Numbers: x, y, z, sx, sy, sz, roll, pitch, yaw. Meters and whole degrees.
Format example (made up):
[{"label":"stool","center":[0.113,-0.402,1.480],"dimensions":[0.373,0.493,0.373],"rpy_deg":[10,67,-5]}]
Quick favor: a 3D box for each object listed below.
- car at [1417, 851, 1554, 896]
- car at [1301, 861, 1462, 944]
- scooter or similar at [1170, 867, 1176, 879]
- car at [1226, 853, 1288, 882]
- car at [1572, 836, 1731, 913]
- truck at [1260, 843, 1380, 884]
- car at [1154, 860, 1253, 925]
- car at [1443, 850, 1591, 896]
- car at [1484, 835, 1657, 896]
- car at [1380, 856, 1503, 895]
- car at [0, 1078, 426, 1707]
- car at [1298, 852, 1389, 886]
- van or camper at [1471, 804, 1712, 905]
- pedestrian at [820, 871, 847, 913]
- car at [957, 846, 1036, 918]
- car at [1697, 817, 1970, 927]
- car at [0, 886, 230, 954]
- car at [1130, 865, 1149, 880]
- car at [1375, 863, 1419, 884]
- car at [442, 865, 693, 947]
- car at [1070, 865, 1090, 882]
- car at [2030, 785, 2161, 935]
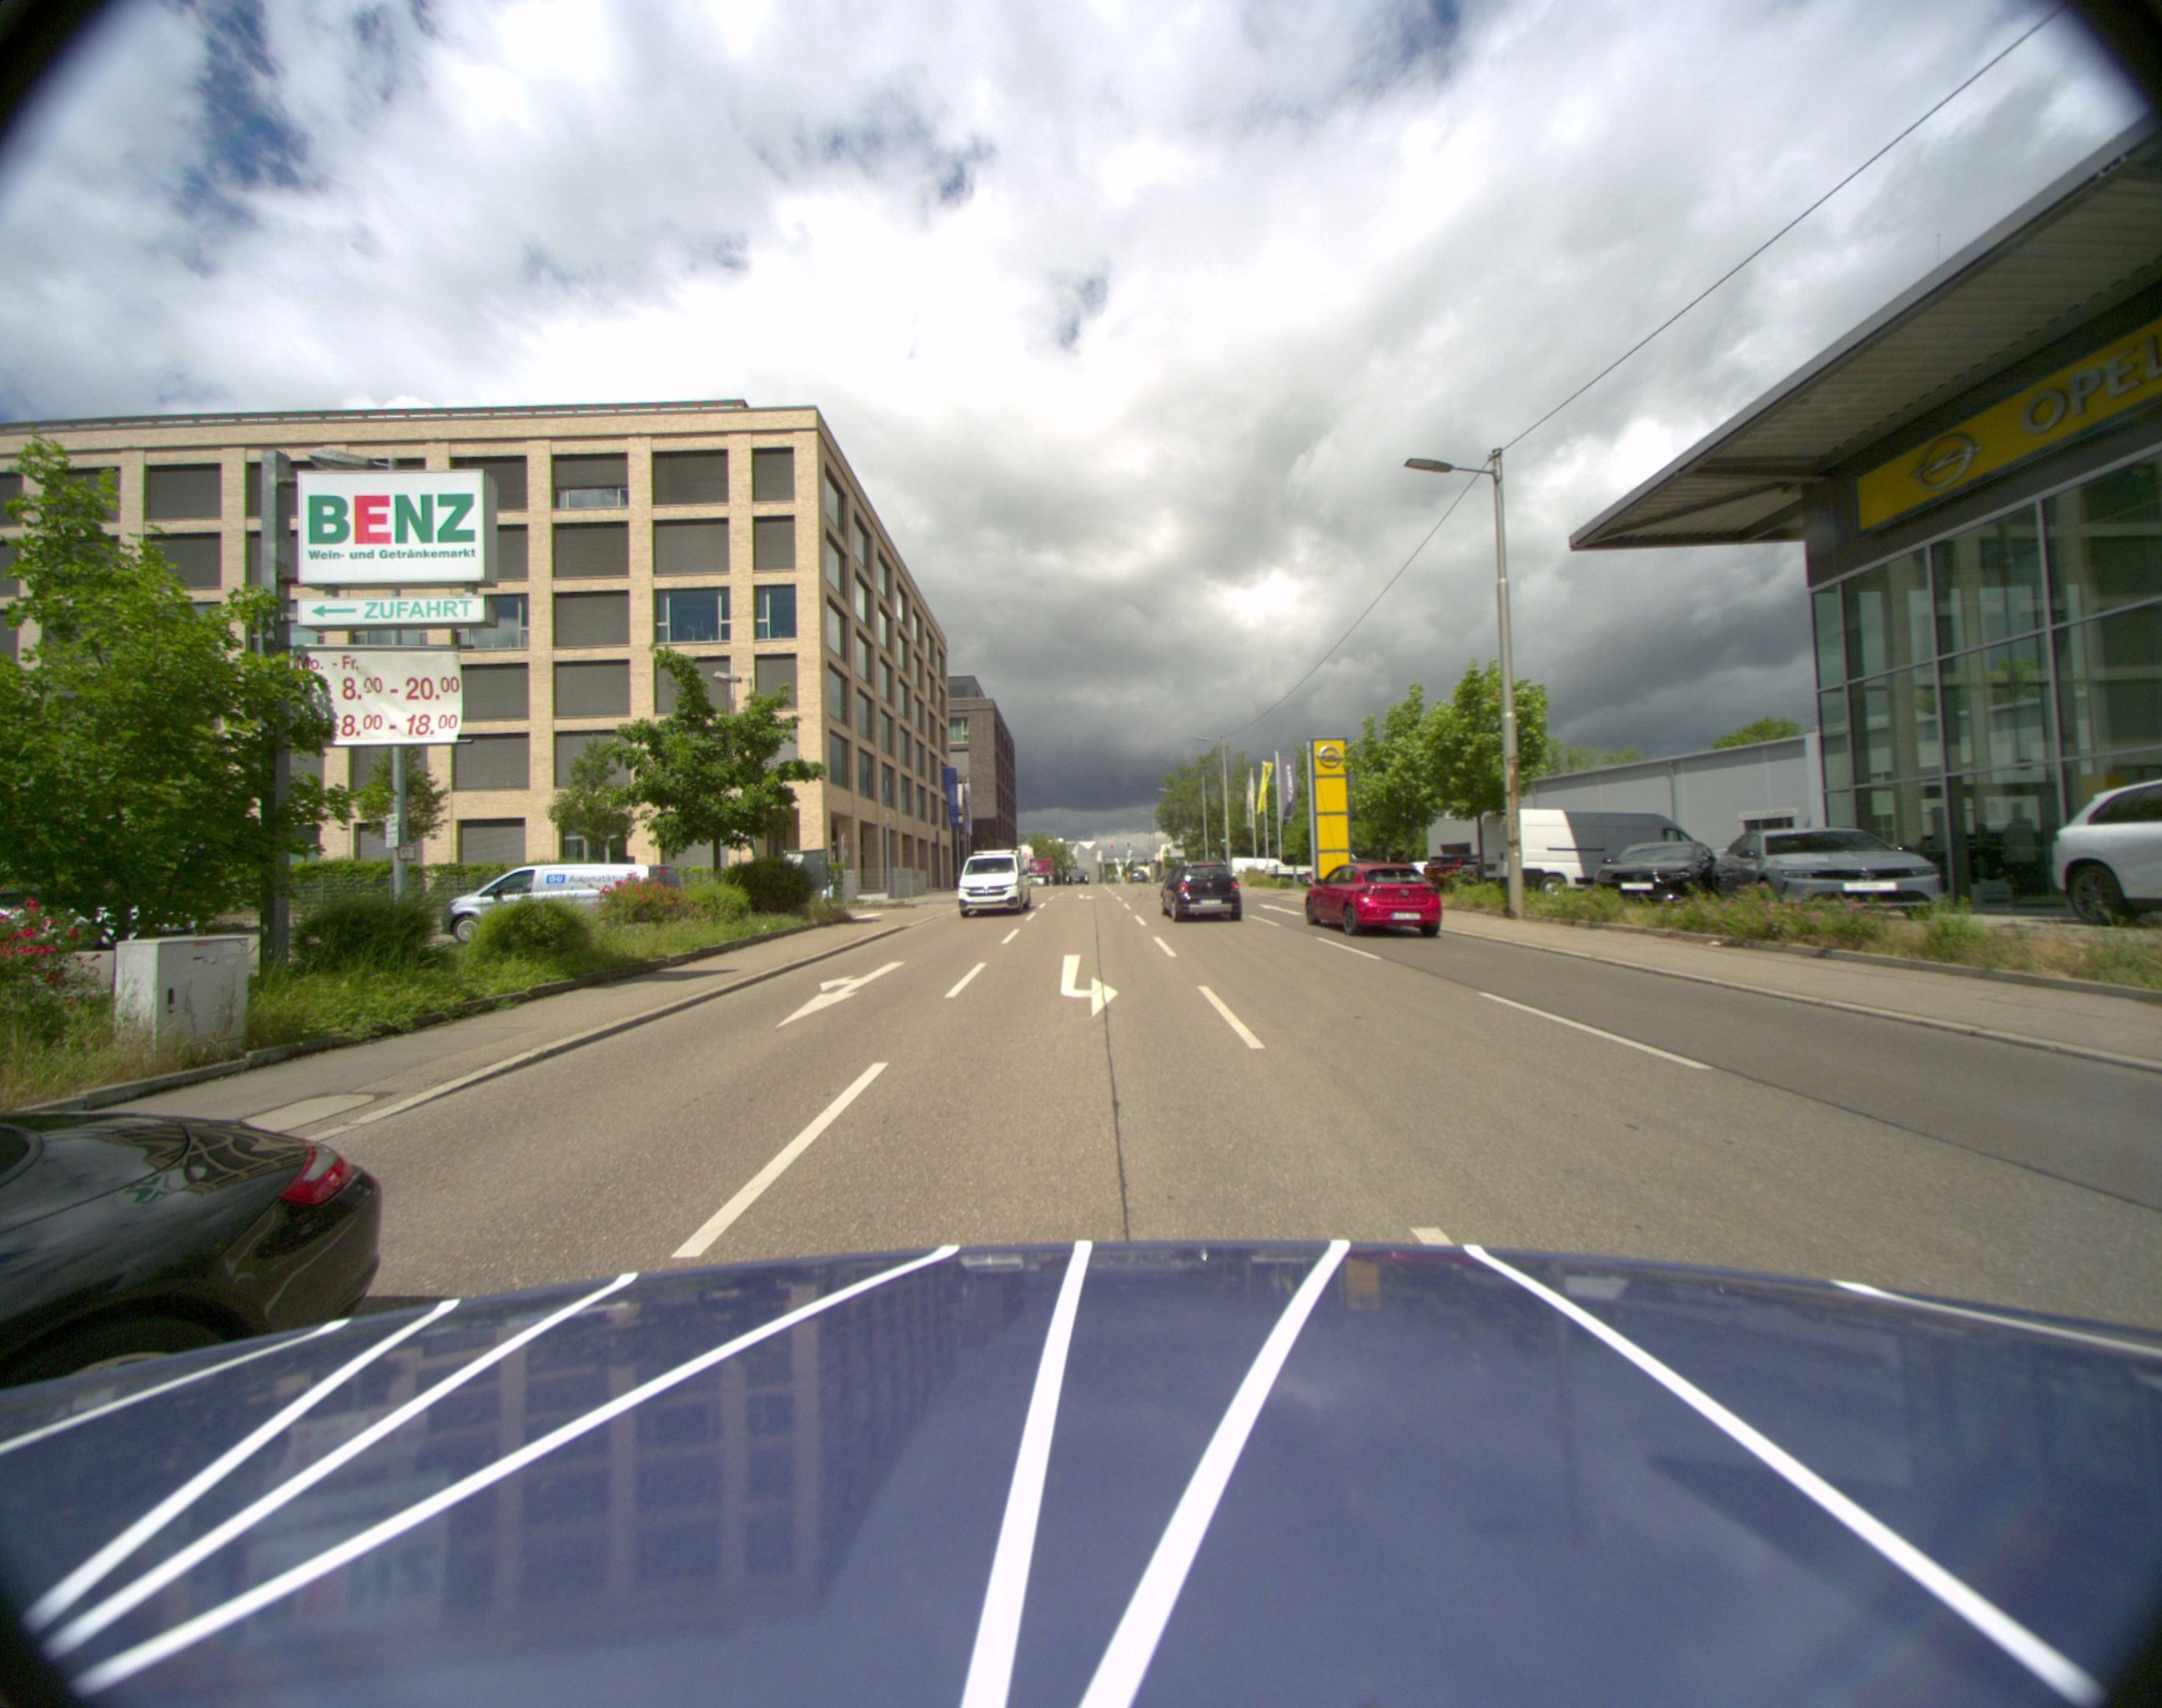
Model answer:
[{"label":"car","center":[15.036,0.763,28.409],"dimensions":[3.996,1.482,2.001],"rpy_deg":[-2,-2,3]},{"label":"car","center":[6.076,0.906,15.875],"dimensions":[1.875,1.482,3.849],"rpy_deg":[1,-1,1]},{"label":"scooter or similar","center":[9.573,1.998,79.345],"dimensions":[0.536,1.258,1.473],"rpy_deg":[-3,-2,6]},{"label":"car","center":[13.354,1.064,57.811],"dimensions":[4.171,2.001,2.199],"rpy_deg":[-2,-2,-1]},{"label":"car","center":[12.879,0.395,17.051],"dimensions":[4.485,1.500,1.938],"rpy_deg":[-1,-1,-41]},{"label":"truck","center":[13.197,0.519,42.212],"dimensions":[5.877,2.135,2.476],"rpy_deg":[-1,0,-2]},{"label":"car","center":[3.099,0.937,20.083],"dimensions":[1.834,1.500,4.277],"rpy_deg":[-1,0,-1]},{"label":"car","center":[14.981,0.645,26.260],"dimensions":[3.997,1.401,1.928],"rpy_deg":[-2,0,0]},{"label":"car","center":[15.120,0.386,23.674],"dimensions":[3.995,1.695,2.002],"rpy_deg":[-2,-2,6]},{"label":"car","center":[14.507,0.850,30.769],"dimensions":[3.997,1.401,2.000],"rpy_deg":[-2,0,-1]},{"label":"car","center":[-3.012,1.219,0.146],"dimensions":[1.935,1.367,4.212],"rpy_deg":[-2,-4,4]},{"label":"car","center":[13.119,0.782,38.159],"dimensions":[3.996,1.579,1.754],"rpy_deg":[1,-2,2]},{"label":"van or camper","center":[14.047,0.061,21.177],"dimensions":[5.040,2.515,2.319],"rpy_deg":[-2,-2,-1]},{"label":"pedestrian","center":[-9.117,1.392,28.002],"dimensions":[0.689,1.526,0.856],"rpy_deg":[-1,-1,1]},{"label":"car","center":[-2.665,0.924,24.891],"dimensions":[1.935,2.077,4.210],"rpy_deg":[-2,-2,2]},{"label":"car","center":[12.024,0.333,12.605],"dimensions":[1.896,1.441,4.842],"rpy_deg":[-3,-3,29]},{"label":"car","center":[-23.900,1.551,18.358],"dimensions":[4.444,1.482,1.889],"rpy_deg":[-1,-1,-2]},{"label":"car","center":[6.532,2.063,85.550],"dimensions":[1.748,1.586,4.043],"rpy_deg":[1,-1,0]},{"label":"car","center":[26.338,1.645,63.565],"dimensions":[1.841,1.718,4.918],"rpy_deg":[-1,-2,3]},{"label":"car","center":[-12.554,1.222,18.894],"dimensions":[4.722,1.837,2.087],"rpy_deg":[0,0,-6]},{"label":"car","center":[-0.097,1.757,69.637],"dimensions":[1.726,1.394,4.208],"rpy_deg":[-1,0,0]},{"label":"car","center":[11.984,0.036,7.144],"dimensions":[1.932,1.563,4.561],"rpy_deg":[-2,-1,24]}]
